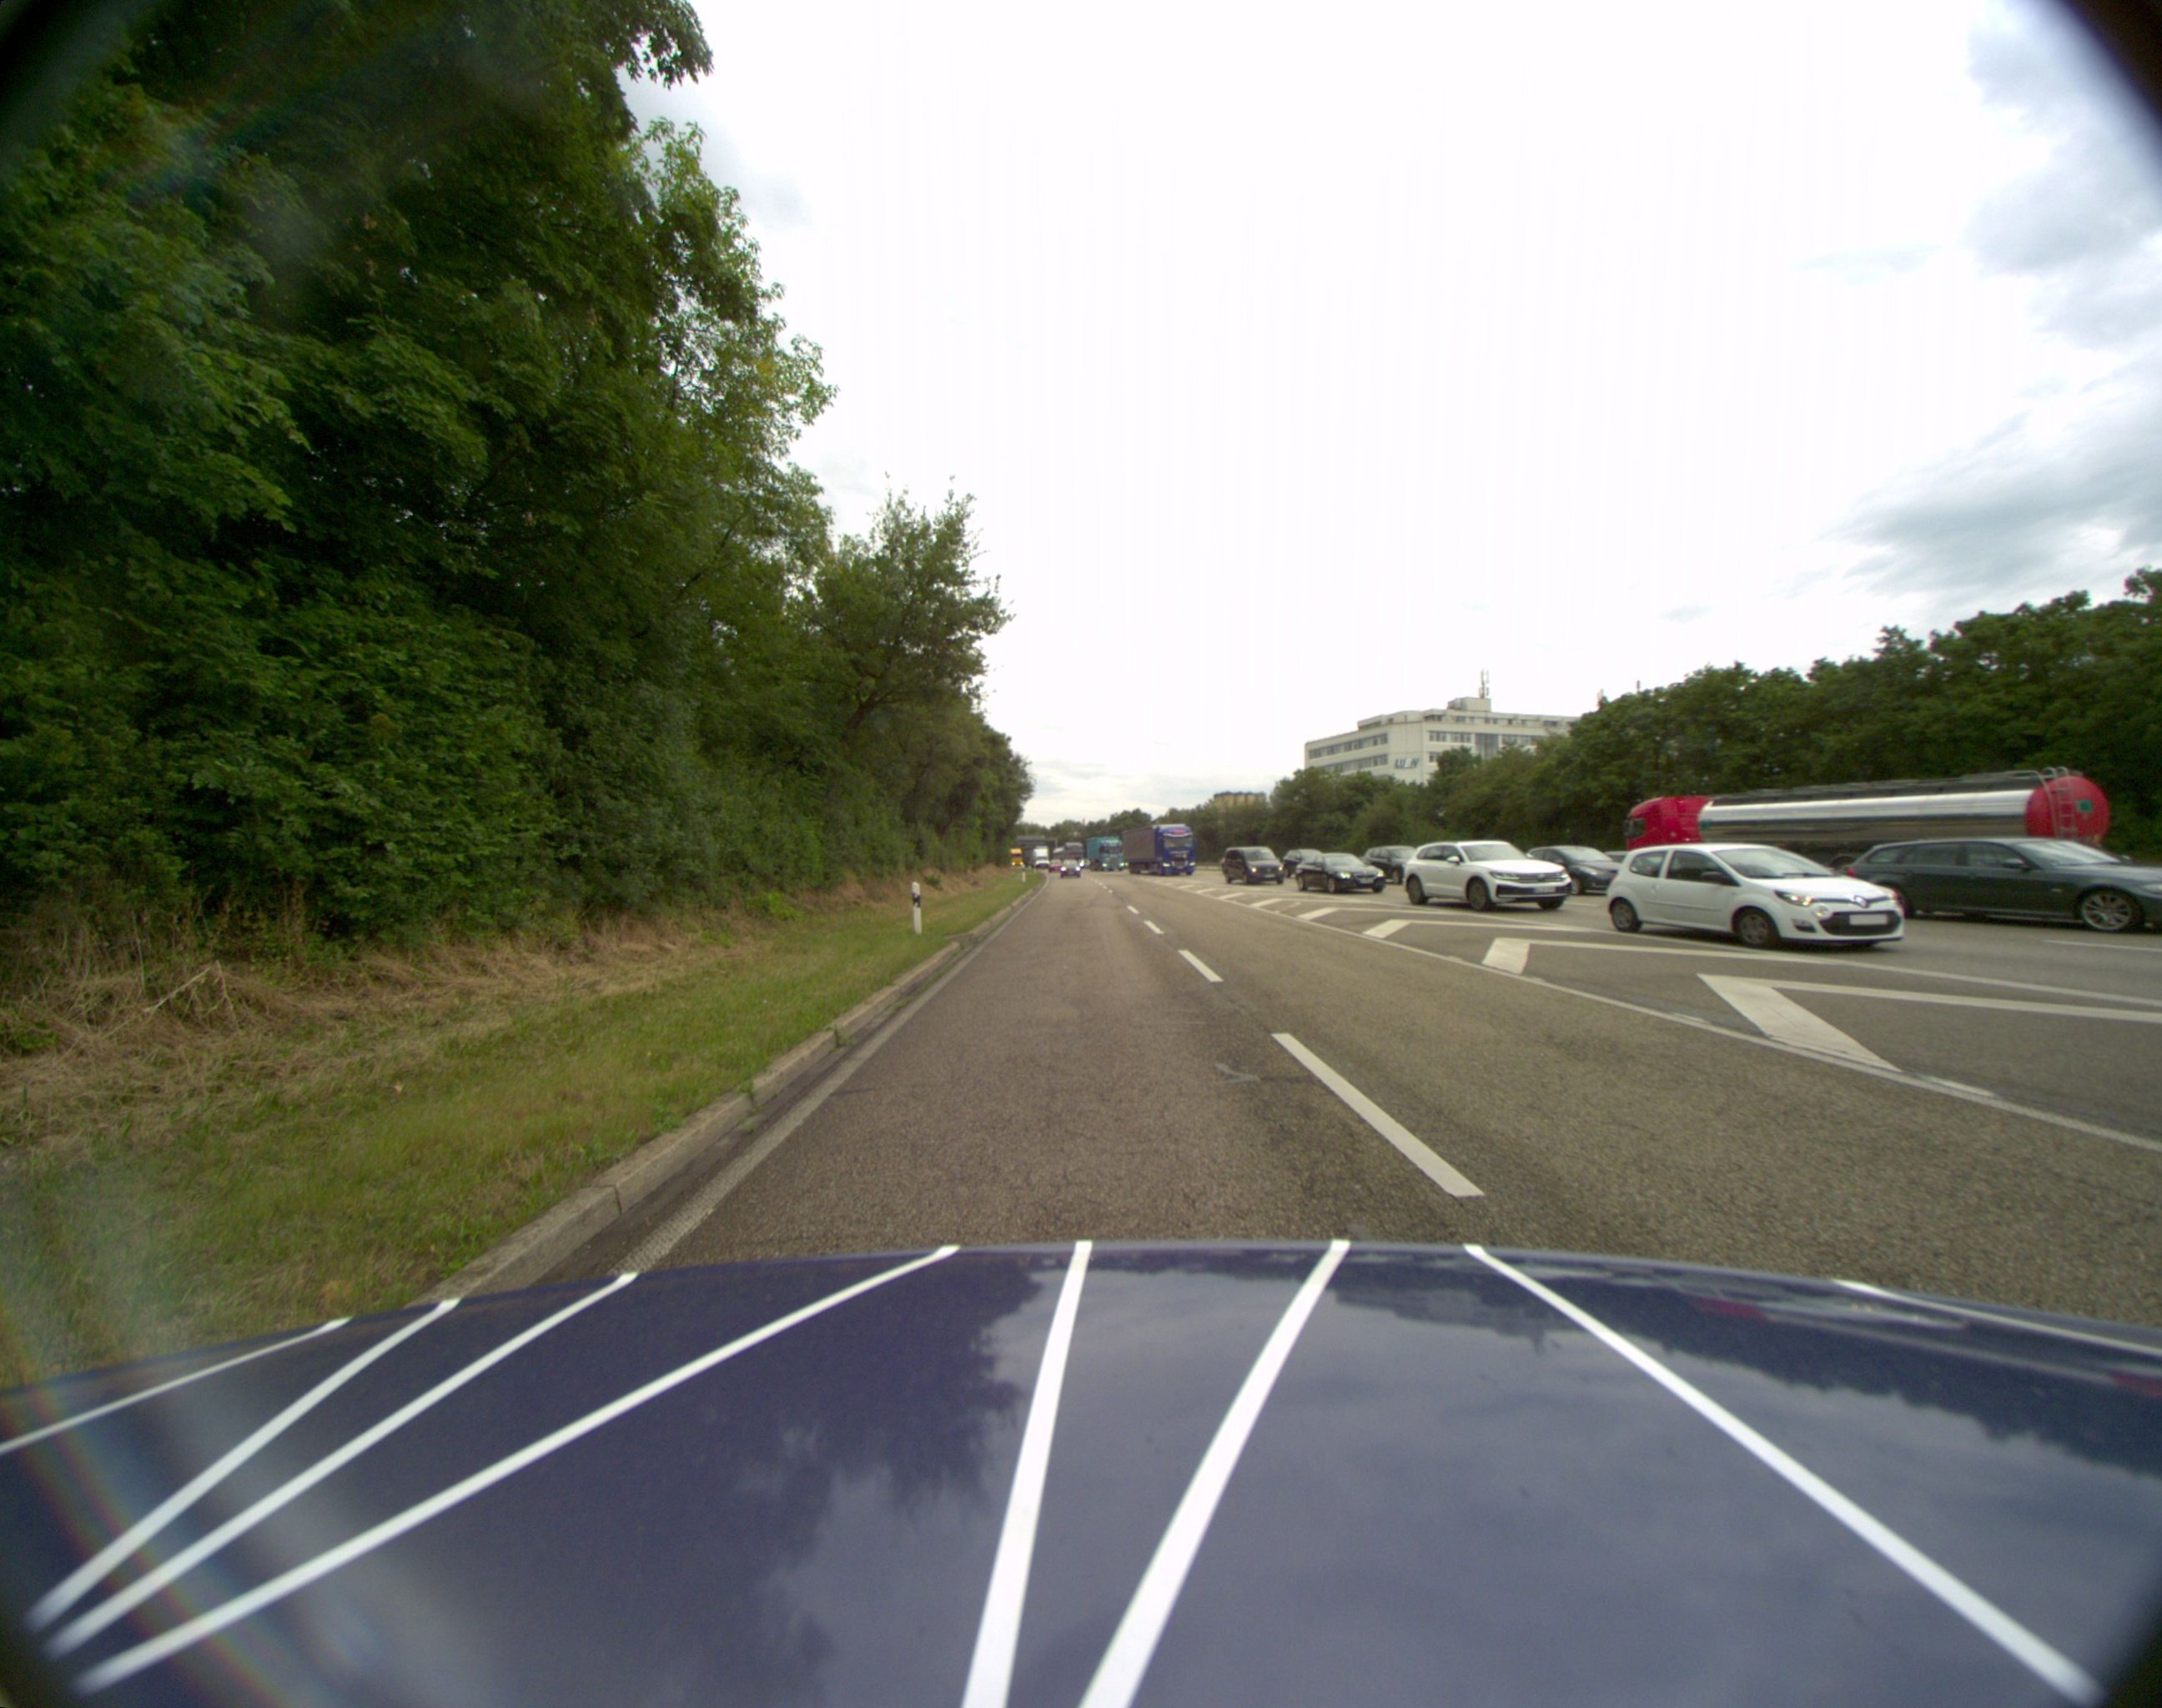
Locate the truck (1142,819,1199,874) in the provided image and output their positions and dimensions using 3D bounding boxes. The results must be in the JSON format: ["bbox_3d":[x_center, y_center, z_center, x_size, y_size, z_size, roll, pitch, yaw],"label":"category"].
[{"bbox_3d":[7.010,-0.562,60.415,2.569,4.019,6.582,-3,1,-10],"label":"truck"}]

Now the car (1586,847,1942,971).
[{"bbox_3d":[9.739,0.682,11.342,1.582,1.482,4.035,-1,0,-2],"label":"car"}]

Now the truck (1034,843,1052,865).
[{"bbox_3d":[-7.164,-0.031,142.684,2.547,3.949,6.470,-1,0,-8],"label":"truck"}]

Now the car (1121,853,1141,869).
[{"bbox_3d":[6.313,0.873,96.591,1.674,2.002,3.997,-1,0,-10],"label":"car"}]

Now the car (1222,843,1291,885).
[{"bbox_3d":[8.836,0.504,38.742,1.999,1.894,5.078,-3,0,-4],"label":"car"}]

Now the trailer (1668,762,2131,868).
[{"bbox_3d":[25.571,-1.055,25.302,2.478,2.655,11.370,-2,1,-5],"label":"trailer"}]

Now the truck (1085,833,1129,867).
[{"bbox_3d":[2.951,-0.442,89.907,2.939,3.774,11.321,-1,0,-10],"label":"truck"}]

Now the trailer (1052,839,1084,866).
[{"bbox_3d":[-2.251,-0.159,121.985,2.847,4.013,13.074,-1,0,-11],"label":"trailer"}]

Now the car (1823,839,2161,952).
[{"bbox_3d":[15.095,0.527,12.150,1.718,1.440,4.699,-2,1,-2],"label":"car"}]

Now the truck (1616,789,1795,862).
[{"bbox_3d":[25.124,-1.075,30.953,2.331,2.607,5.687,-2,1,-4],"label":"truck"}]

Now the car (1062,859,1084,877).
[{"bbox_3d":[-0.743,1.173,64.340,1.628,1.433,3.999,-1,0,-4],"label":"car"}]

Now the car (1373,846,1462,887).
[{"bbox_3d":[14.075,0.506,32.026,1.650,1.602,3.998,-1,0,-6],"label":"car"}]

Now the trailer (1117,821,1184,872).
[{"bbox_3d":[5.894,-0.643,67.550,2.635,3.999,13.452,-2,1,-9],"label":"trailer"}]

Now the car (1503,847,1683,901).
[{"bbox_3d":[15.260,0.565,23.075,1.999,1.406,4.806,-2,0,-4],"label":"car"}]

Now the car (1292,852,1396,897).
[{"bbox_3d":[9.682,0.690,28.442,1.852,1.451,4.828,-2,1,-4],"label":"car"}]

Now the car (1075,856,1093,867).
[{"bbox_3d":[0.398,1.059,103.695,1.753,1.413,3.661,-1,0,-9],"label":"car"}]

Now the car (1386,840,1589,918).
[{"bbox_3d":[9.960,0.548,19.252,1.916,1.650,5.378,-1,0,-4],"label":"car"}]

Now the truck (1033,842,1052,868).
[{"bbox_3d":[-6.090,0.132,119.734,2.255,3.949,6.623,-1,0,-8],"label":"truck"}]

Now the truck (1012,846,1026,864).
[{"bbox_3d":[-14.115,0.167,173.835,2.548,3.949,6.469,-1,0,-10],"label":"truck"}]

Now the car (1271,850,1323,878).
[{"bbox_3d":[12.854,0.598,45.499,1.691,1.565,3.998,-1,0,-5],"label":"car"}]
